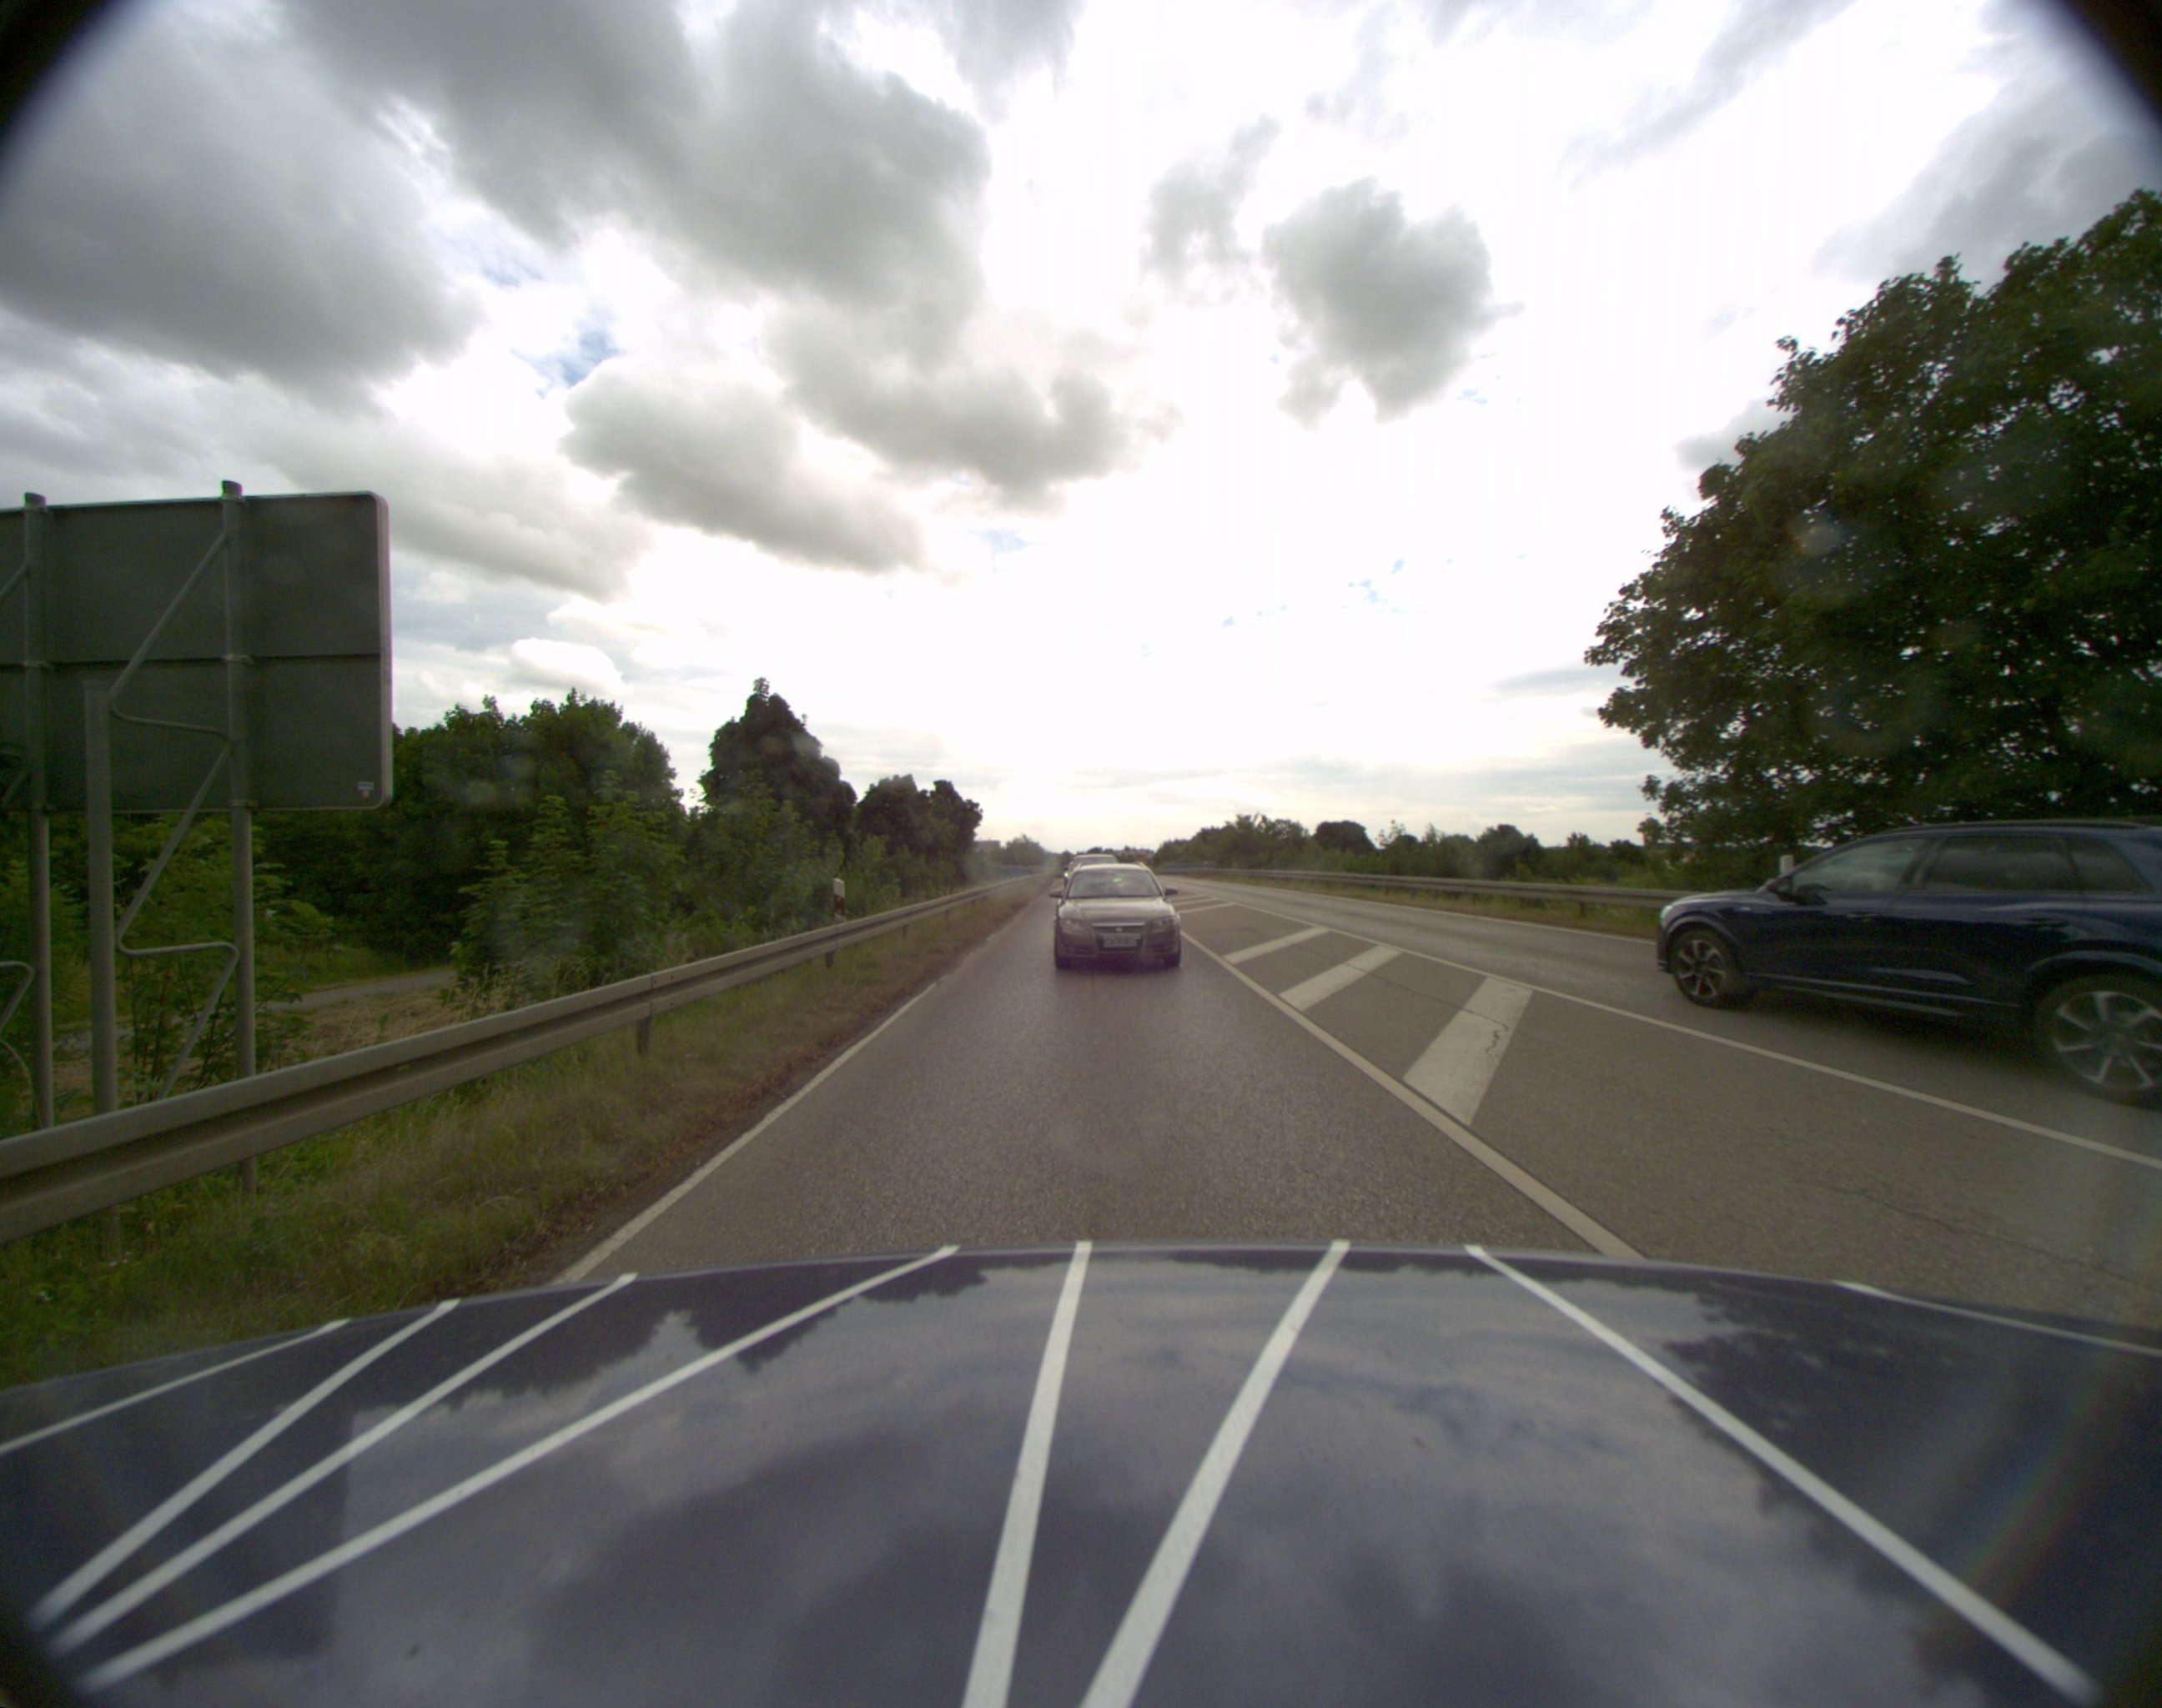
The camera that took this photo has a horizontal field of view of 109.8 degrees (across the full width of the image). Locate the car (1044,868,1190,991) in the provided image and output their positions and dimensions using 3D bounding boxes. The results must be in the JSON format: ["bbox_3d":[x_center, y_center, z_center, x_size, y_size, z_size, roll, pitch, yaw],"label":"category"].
[{"bbox_3d":[0.432,0.971,11.375,1.768,1.383,3.876,-2,0,-1],"label":"car"}]

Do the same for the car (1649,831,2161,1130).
[{"bbox_3d":[6.345,0.634,5.182,1.714,1.509,4.209,-2,0,-1],"label":"car"}]

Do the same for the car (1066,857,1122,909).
[{"bbox_3d":[0.420,0.863,24.516,1.603,1.493,3.962,-2,0,1],"label":"car"}]

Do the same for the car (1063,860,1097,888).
[{"bbox_3d":[-0.059,1.024,40.737,1.670,1.339,4.000,-2,0,0],"label":"car"}]
